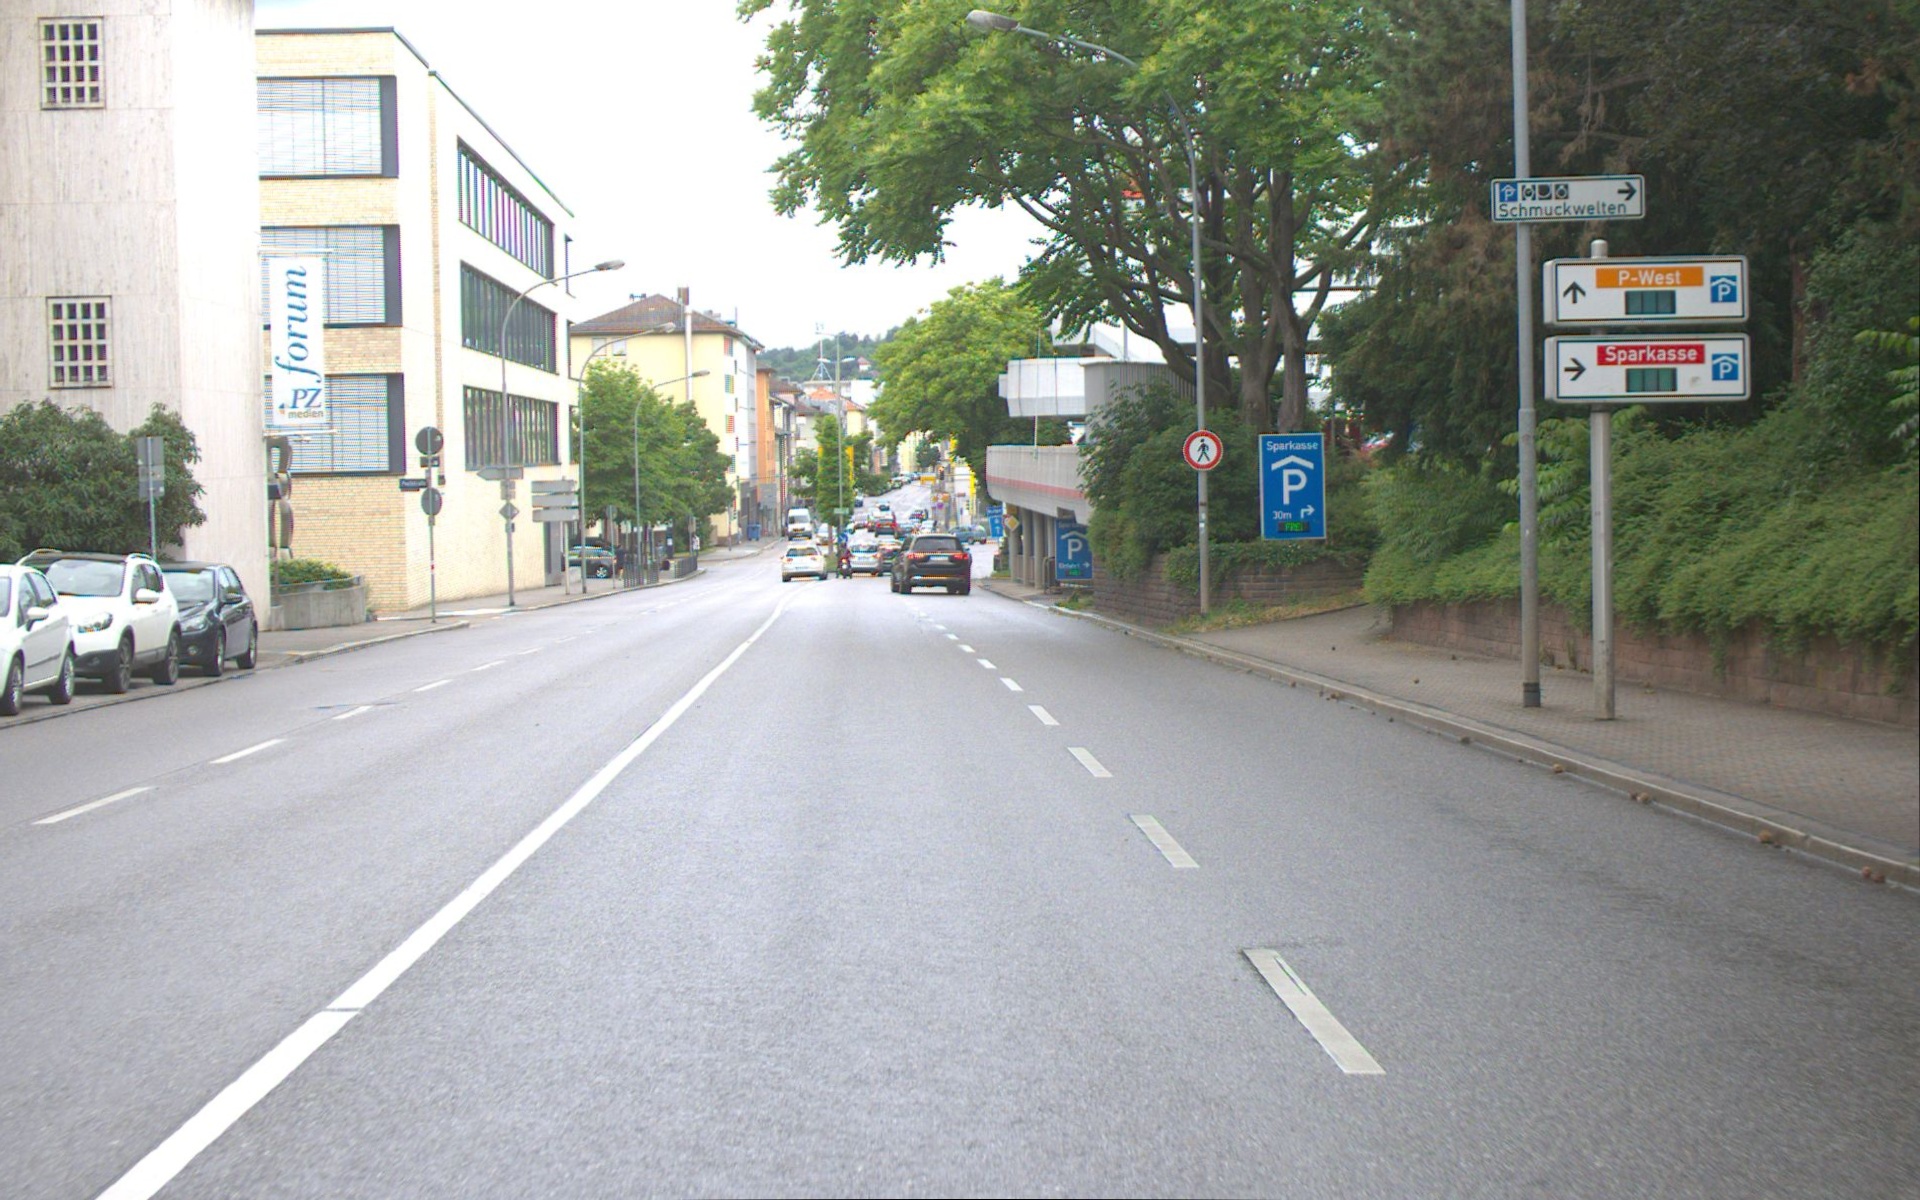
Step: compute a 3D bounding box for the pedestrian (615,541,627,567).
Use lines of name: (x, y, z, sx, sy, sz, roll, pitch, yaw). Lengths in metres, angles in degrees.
pedestrian: (-16.261, -2.211, 164.932, 0.454, 1.274, 0.454, 0, 1, 9)

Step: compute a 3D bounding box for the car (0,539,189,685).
car: (-10.354, 0.098, 40.420, 1.748, 1.592, 4.182, 1, 1, -2)

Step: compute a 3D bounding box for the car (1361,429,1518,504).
car: (11.290, -3.137, 81.141, 3.623, 1.700, 1.640, 0, 1, 7)

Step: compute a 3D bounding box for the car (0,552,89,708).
car: (-10.208, 0.254, 35.108, 1.748, 1.449, 4.182, 1, 1, -3)

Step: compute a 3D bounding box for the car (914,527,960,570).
car: (-1.113, -2.480, 163.691, 2.173, 1.997, 4.000, -1, 1, -1)

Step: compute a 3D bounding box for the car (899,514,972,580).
car: (-0.730, -1.577, 101.606, 2.091, 1.904, 4.100, -1, 1, -1)

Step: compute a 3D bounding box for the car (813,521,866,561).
car: (-5.306, -2.590, 150.450, 1.993, 1.674, 4.001, -1, 1, -6)

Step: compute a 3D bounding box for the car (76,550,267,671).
car: (-10.404, 0.100, 45.606, 1.748, 1.475, 4.182, 1, 1, -3)

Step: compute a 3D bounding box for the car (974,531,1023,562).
car: (2.153, -3.016, 192.238, 1.994, 1.674, 3.998, 0, 1, 12)

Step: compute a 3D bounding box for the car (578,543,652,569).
car: (-17.153, -2.176, 170.932, 3.654, 1.230, 1.441, 0, 1, -7)

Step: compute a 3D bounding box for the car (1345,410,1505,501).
car: (10.610, -3.287, 78.587, 3.585, 2.007, 1.596, 0, 1, 7)

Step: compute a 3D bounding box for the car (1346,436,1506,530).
car: (10.260, -2.568, 75.923, 3.451, 2.007, 1.653, 0, 1, 7)

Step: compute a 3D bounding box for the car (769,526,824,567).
car: (-6.782, -2.225, 142.449, 1.993, 1.674, 4.001, -1, 1, -6)
